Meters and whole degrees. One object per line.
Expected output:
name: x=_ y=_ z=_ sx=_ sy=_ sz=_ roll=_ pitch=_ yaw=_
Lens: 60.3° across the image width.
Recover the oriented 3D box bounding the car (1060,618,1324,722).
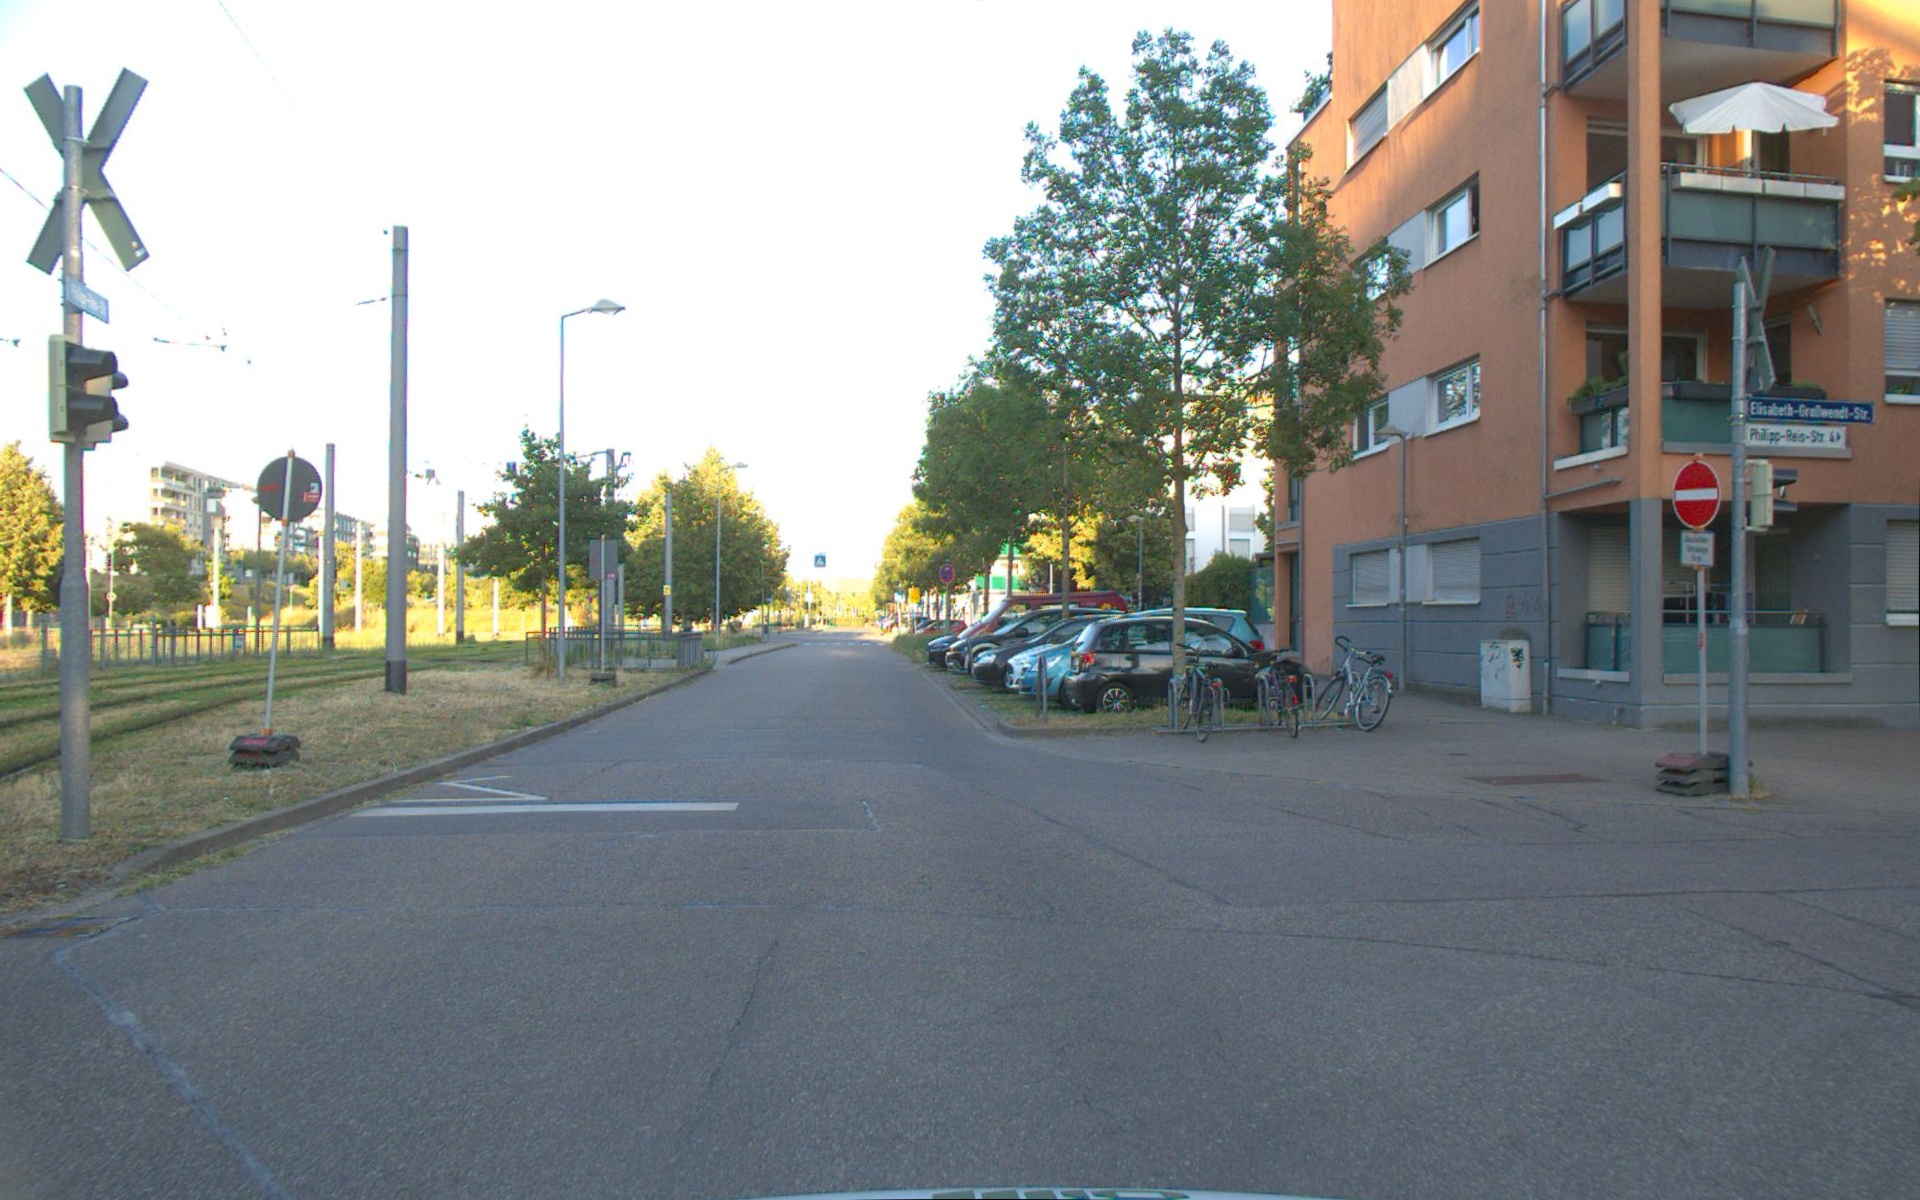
car: x=3.487 y=1.036 z=25.106 sx=3.679 sy=1.499 sz=1.610 roll=0 pitch=-1 yaw=-9

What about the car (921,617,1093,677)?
car: x=1.255 y=1.265 z=45.323 sx=4.577 sy=1.584 sz=1.809 roll=0 pitch=-1 yaw=-5

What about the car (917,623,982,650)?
car: x=-0.637 y=2.167 z=98.951 sx=3.729 sy=1.535 sz=1.677 roll=0 pitch=-1 yaw=-6

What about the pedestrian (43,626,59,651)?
pedestrian: x=-68.710 y=2.914 z=124.985 sx=0.771 sy=1.817 sz=0.813 roll=0 pitch=-1 yaw=-1

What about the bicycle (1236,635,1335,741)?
bicycle: x=4.046 y=1.068 z=20.684 sx=0.666 sy=1.172 sz=1.925 roll=-2 pitch=1 yaw=-5

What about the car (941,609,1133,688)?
car: x=1.701 y=1.089 z=37.523 sx=4.132 sy=1.596 sz=1.791 roll=-2 pitch=-1 yaw=-4

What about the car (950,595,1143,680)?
car: x=2.194 y=0.955 z=42.886 sx=4.821 sy=2.154 sz=2.016 roll=0 pitch=-1 yaw=-3

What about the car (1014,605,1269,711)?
car: x=2.971 y=0.937 z=27.577 sx=3.970 sy=1.596 sz=1.671 roll=-1 pitch=-1 yaw=-4

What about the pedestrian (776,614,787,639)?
pedestrian: x=-14.496 y=2.172 z=134.333 sx=0.829 sy=2.049 sz=0.944 roll=0 pitch=-1 yaw=2

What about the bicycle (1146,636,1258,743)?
bicycle: x=2.997 y=1.088 z=20.695 sx=0.704 sy=1.172 sz=1.891 roll=-2 pitch=1 yaw=-14

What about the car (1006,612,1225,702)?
car: x=2.810 y=1.023 z=30.285 sx=3.800 sy=1.596 sz=1.619 roll=0 pitch=-1 yaw=-4

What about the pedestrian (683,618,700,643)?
pedestrian: x=-18.573 y=2.117 z=114.484 sx=1.005 sy=1.723 sz=0.754 roll=1 pitch=-1 yaw=-23

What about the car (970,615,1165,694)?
car: x=2.106 y=1.094 z=32.872 sx=3.699 sy=1.522 sz=1.537 roll=0 pitch=-3 yaw=-4

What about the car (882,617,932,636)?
car: x=-4.722 y=2.324 z=146.514 sx=4.395 sy=1.624 sz=1.999 roll=0 pitch=-1 yaw=-3

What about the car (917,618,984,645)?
car: x=-0.568 y=1.822 z=96.280 sx=3.729 sy=1.535 sz=1.677 roll=0 pitch=-1 yaw=-6

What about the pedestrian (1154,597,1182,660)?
pedestrian: x=5.853 y=0.799 z=46.507 sx=0.655 sy=1.774 sz=0.699 roll=0 pitch=-1 yaw=-4

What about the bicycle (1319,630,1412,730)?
bicycle: x=5.187 y=1.001 z=21.243 sx=0.519 sy=1.146 sz=1.960 roll=1 pitch=1 yaw=-5
